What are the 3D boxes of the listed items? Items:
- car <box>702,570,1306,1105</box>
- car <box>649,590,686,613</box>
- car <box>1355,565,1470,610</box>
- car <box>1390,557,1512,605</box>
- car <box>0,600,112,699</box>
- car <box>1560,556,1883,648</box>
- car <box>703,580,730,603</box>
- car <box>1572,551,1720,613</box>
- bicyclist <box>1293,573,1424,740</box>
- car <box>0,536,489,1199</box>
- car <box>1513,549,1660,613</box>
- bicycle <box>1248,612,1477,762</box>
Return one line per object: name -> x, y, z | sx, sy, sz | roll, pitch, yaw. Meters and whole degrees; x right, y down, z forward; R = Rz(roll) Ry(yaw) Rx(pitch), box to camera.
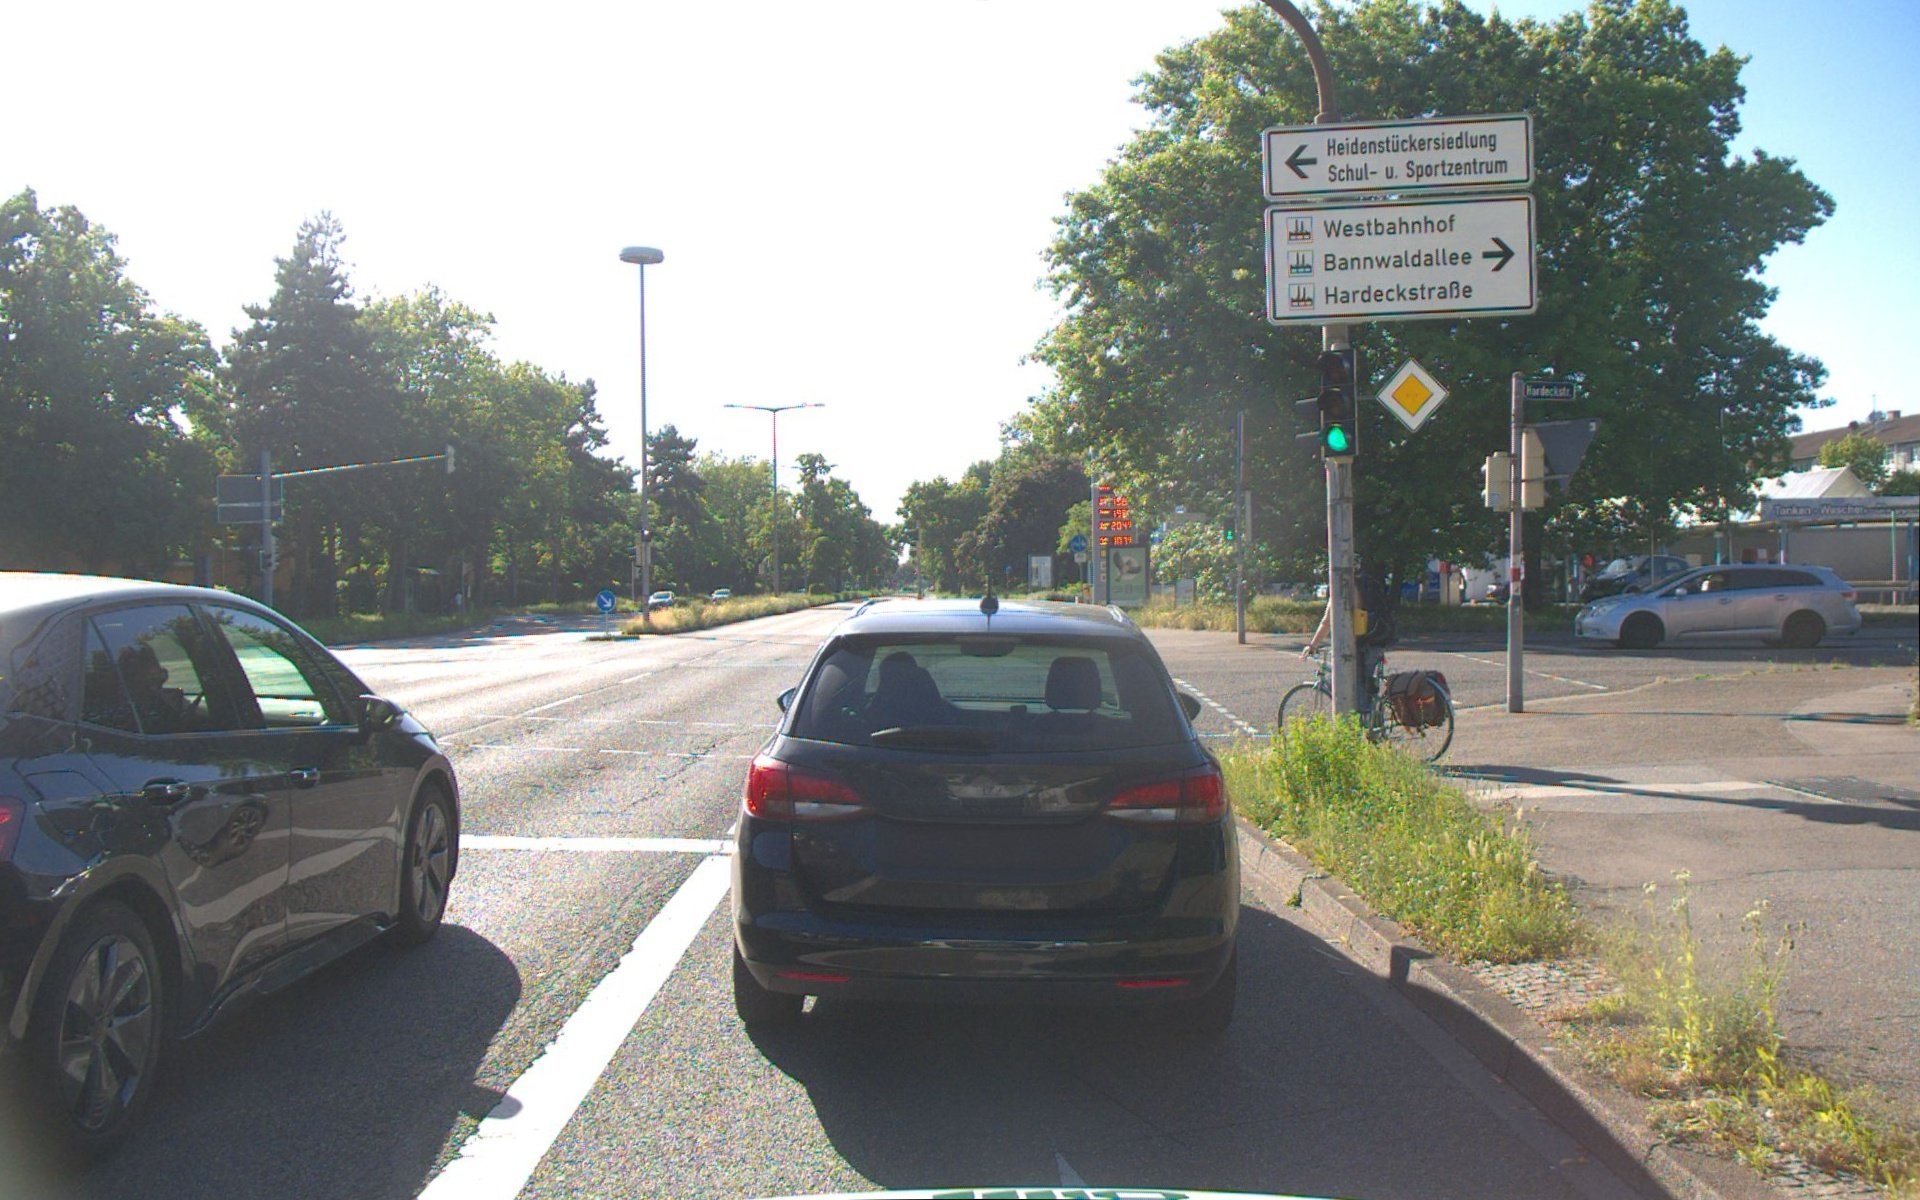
car -> 0.100, 0.685, 6.835 | 1.721, 1.521, 4.206 | 0, 0, -1
car -> -20.790, 0.088, 117.643 | 1.953, 1.556, 3.999 | -2, 0, -1
car -> 16.431, -0.464, 60.058 | 3.837, 1.544, 1.732 | -2, 0, -24
car -> 16.908, -0.651, 56.982 | 3.837, 1.544, 1.732 | -2, 0, -24
car -> -15.525, 0.779, 26.515 | 1.740, 1.488, 4.164 | -1, 0, -1
car -> 13.537, 0.031, 29.701 | 4.897, 1.512, 2.002 | -1, 0, 11
car -> -22.305, -0.785, 151.665 | 1.953, 2.049, 3.999 | -2, 0, -1
car -> 19.987, -0.534, 48.193 | 3.934, 1.709, 1.732 | -2, 0, -24
bicyclist -> 3.215, 0.455, 13.368 | 0.534, 1.299, 0.816 | -2, -2, -44
car -> -3.001, 0.659, 5.603 | 1.650, 1.608, 4.206 | 0, 0, -1
car -> 18.938, -0.587, 50.002 | 3.935, 1.780, 1.985 | -2, 1, -24
bicycle -> 3.224, 0.701, 13.368 | 0.533, 1.117, 1.748 | -2, -2, -44
